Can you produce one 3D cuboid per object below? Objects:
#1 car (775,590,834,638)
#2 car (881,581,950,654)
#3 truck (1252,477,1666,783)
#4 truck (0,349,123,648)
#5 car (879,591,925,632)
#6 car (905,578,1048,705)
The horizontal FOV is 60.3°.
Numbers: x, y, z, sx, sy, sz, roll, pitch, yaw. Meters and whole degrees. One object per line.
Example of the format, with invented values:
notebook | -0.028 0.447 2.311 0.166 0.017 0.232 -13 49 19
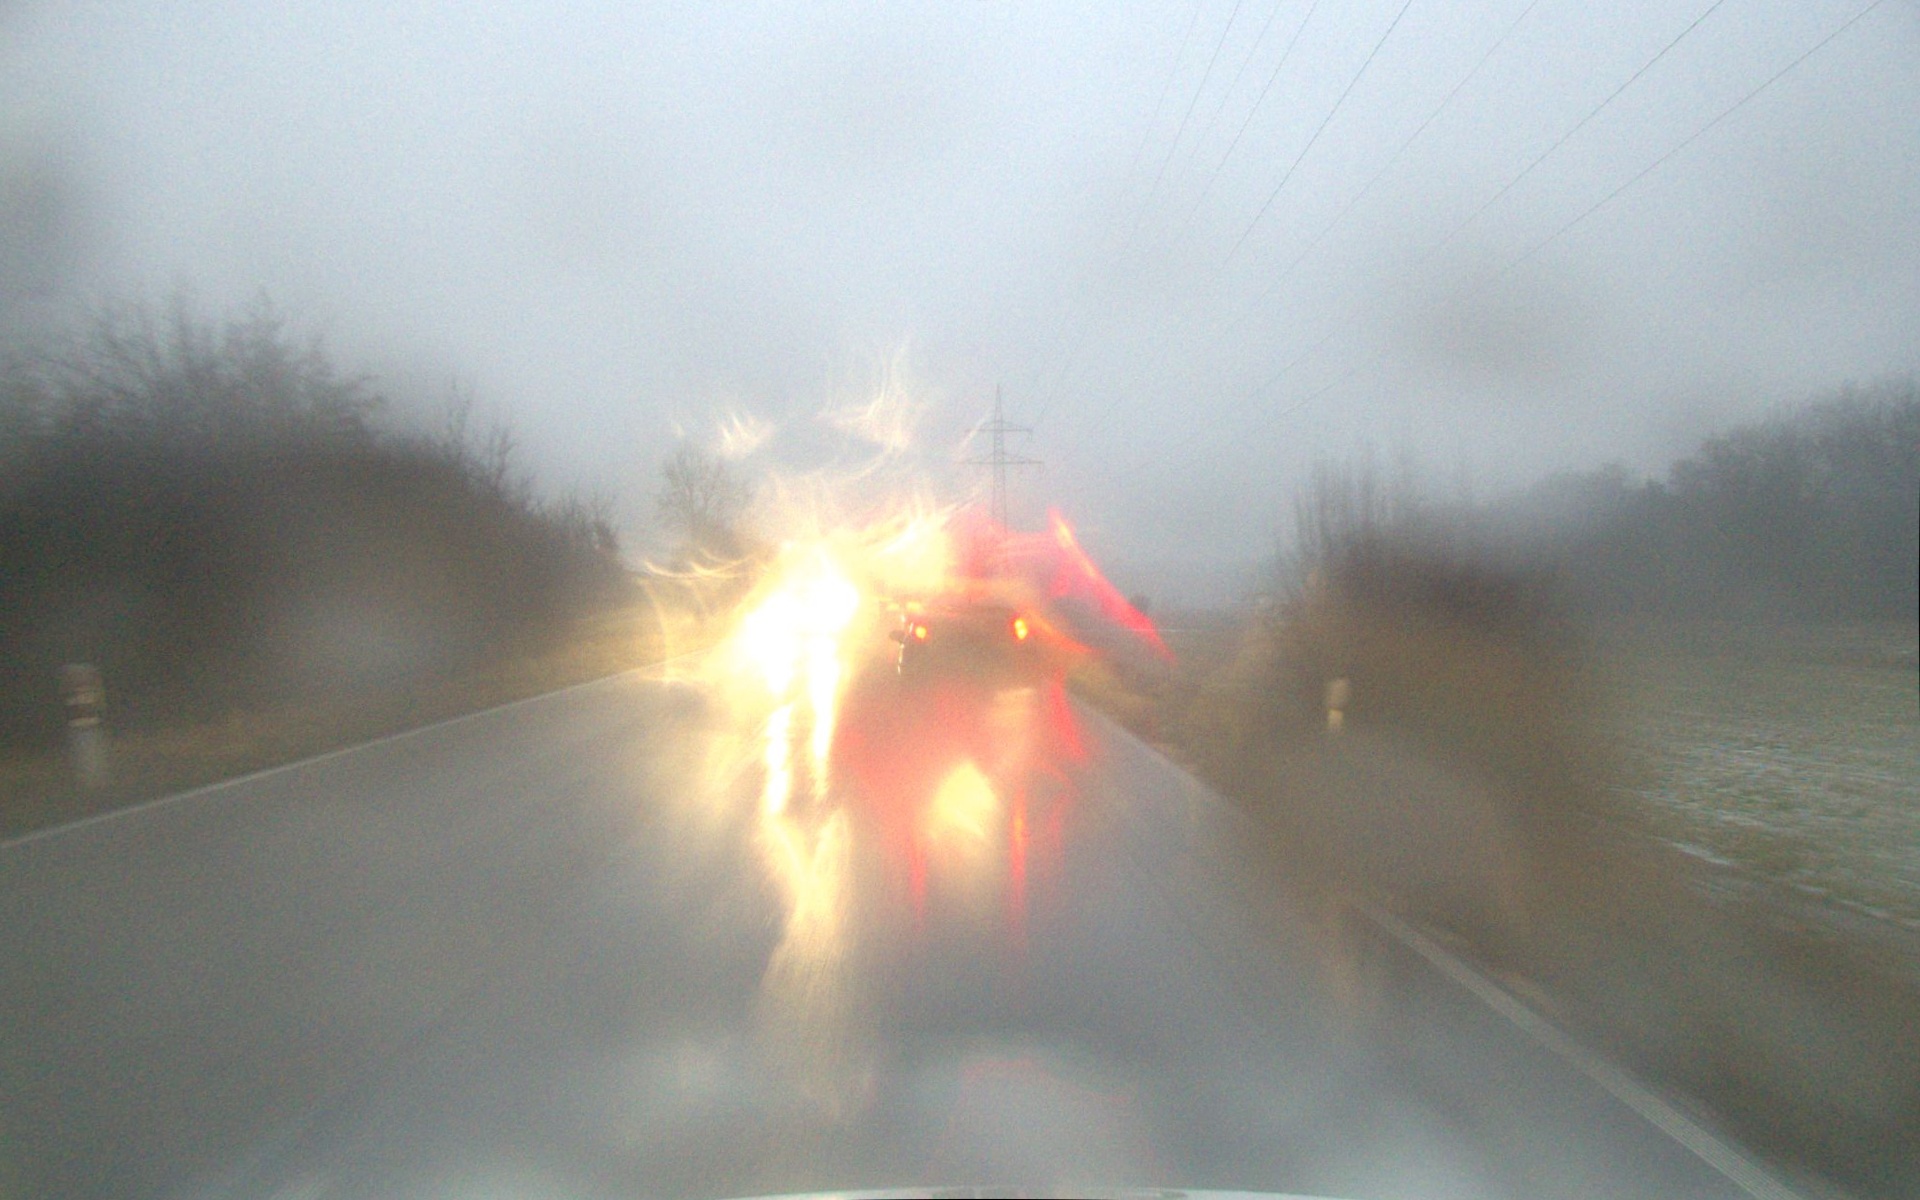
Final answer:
car | -5.458 0.463 58.479 1.733 1.619 4.163 1 0 -1
car | -1.351 0.493 48.445 1.816 2.049 3.996 1 0 -4
truck | 5.685 0.302 20.437 2.483 3.030 7.854 1 0 -2
truck | -28.775 -2.712 29.675 7.389 7.848 40.143 1 0 -1
car | -2.443 0.443 68.627 1.734 1.619 4.160 0 0 -4
car | 0.138 0.474 20.289 1.471 1.423 3.196 1 0 -4
